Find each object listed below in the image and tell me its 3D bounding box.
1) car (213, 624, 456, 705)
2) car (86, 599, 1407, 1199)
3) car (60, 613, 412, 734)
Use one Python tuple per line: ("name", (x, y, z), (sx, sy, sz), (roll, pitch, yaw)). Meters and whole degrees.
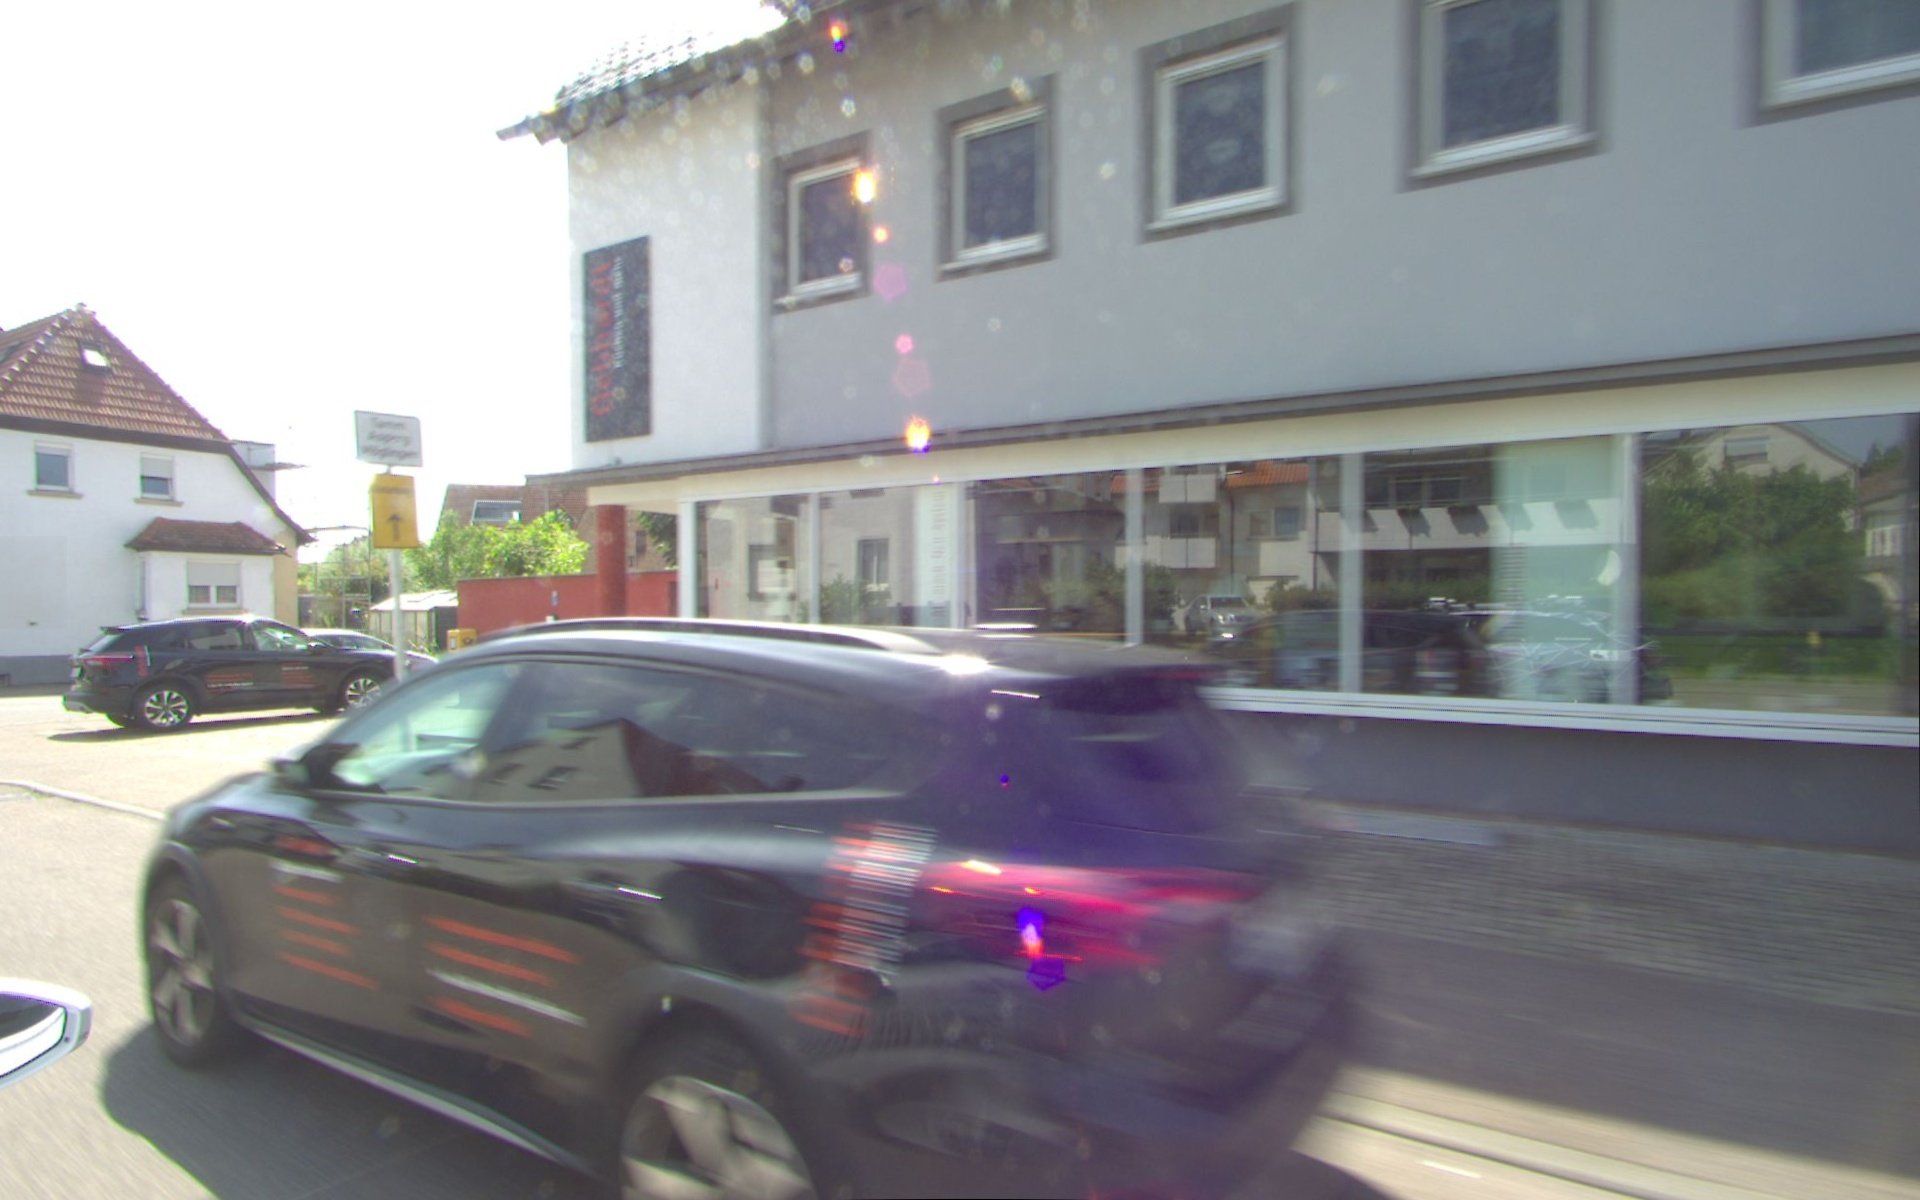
("car", (-12.875, 1.260, 20.816), (1.673, 1.523, 3.972), (-1, -1, 38))
("car", (-0.998, 0.832, 3.332), (4.344, 1.546, 1.758), (-1, -2, 33))
("car", (-11.450, 1.073, 16.108), (1.825, 1.674, 4.278), (-1, -1, 38))
